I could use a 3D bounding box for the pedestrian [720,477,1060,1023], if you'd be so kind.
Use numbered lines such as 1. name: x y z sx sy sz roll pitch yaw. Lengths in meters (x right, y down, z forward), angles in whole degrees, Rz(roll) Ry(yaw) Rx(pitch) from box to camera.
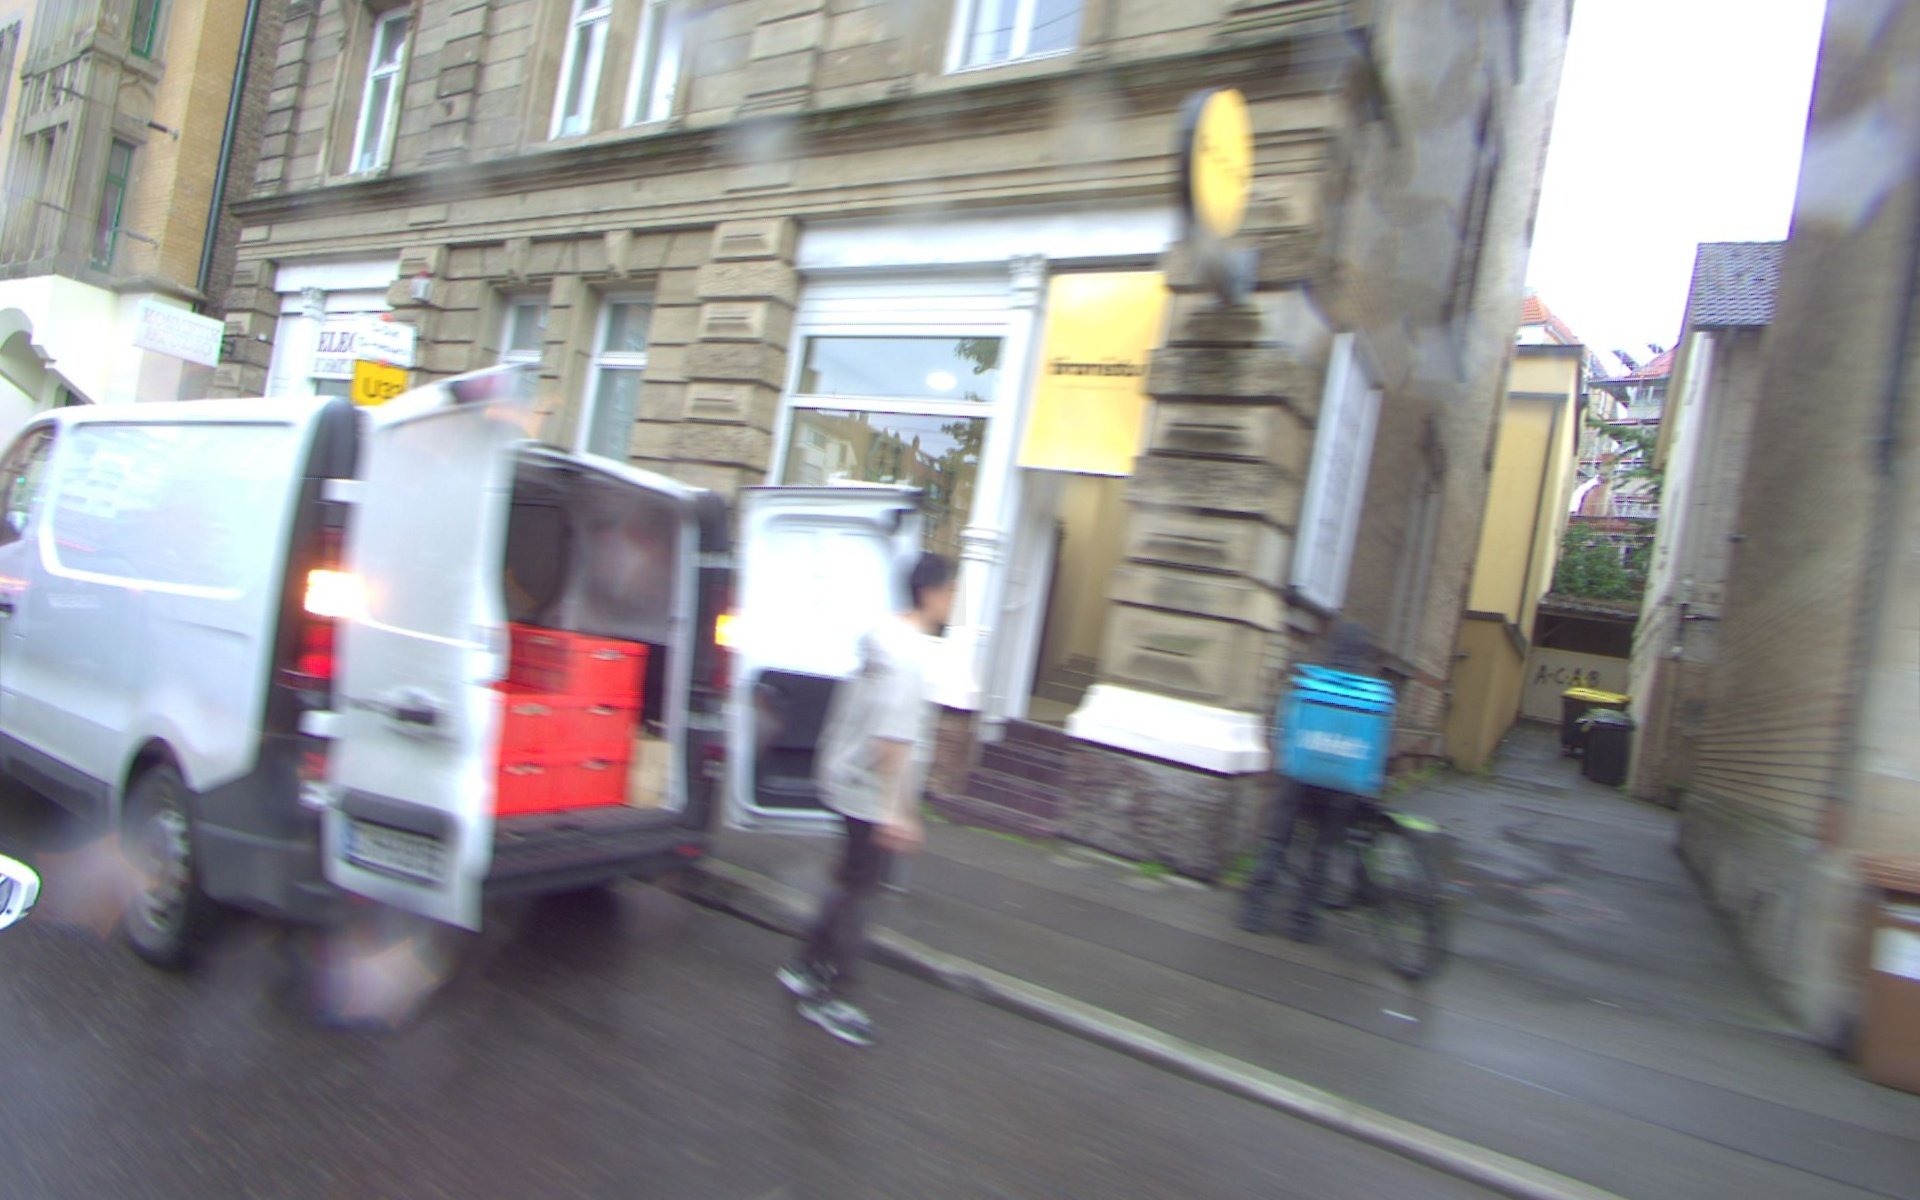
1. pedestrian: -0.260 0.511 3.773 0.830 1.774 0.679 8 -1 -40

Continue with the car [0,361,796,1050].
1. car: -3.277 0.182 4.919 4.610 1.957 1.924 7 -2 34

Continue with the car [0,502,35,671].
1. car: -7.940 -0.172 6.590 1.883 1.406 3.968 9 -3 -31

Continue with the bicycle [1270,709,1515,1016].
1. bicycle: 2.103 1.208 5.131 0.456 1.128 1.690 7 -1 3

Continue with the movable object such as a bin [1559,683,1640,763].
1. movable object such as a bin: 12.819 2.422 20.143 1.094 1.388 1.486 7 2 39

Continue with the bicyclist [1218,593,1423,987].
1. bicyclist: 1.712 0.861 4.915 0.619 1.676 0.851 7 -1 10
